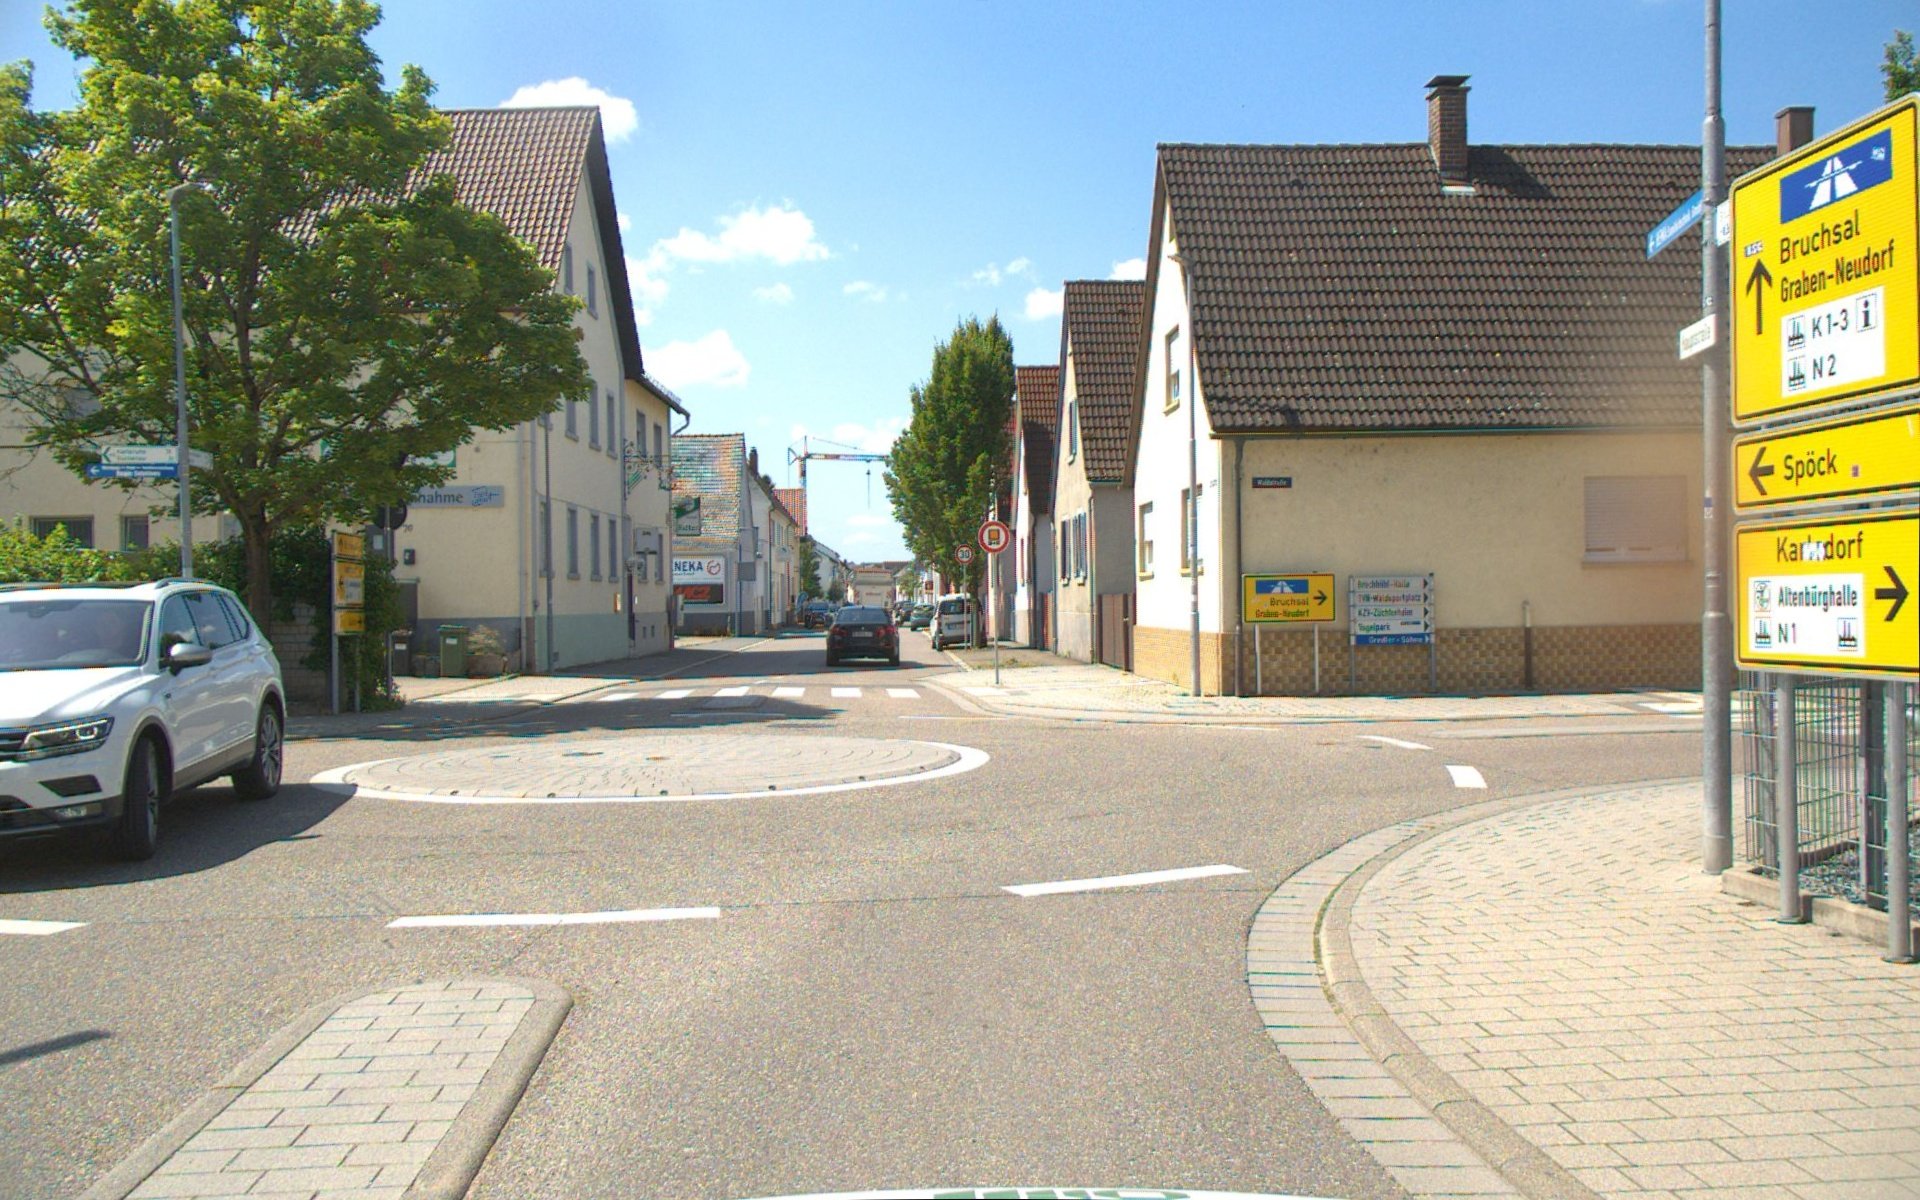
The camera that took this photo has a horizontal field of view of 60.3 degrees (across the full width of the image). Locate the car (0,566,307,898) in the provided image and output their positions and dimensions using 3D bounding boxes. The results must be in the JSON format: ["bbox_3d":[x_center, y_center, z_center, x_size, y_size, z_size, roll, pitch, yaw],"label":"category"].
[{"bbox_3d":[-5.837,0.675,10.873,1.831,1.739,4.534,-2,1,-8],"label":"car"}]

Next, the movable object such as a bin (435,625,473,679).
[{"bbox_3d":[-10.672,1.095,34.906,0.587,1.097,0.658,-1,0,-1],"label":"movable object such as a bin"}]

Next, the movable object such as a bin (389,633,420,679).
[{"bbox_3d":[-11.663,1.177,34.728,0.469,0.944,0.547,-1,0,-1],"label":"movable object such as a bin"}]

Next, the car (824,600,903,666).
[{"bbox_3d":[-2.392,0.796,42.068,1.864,1.591,4.475,0,0,-2],"label":"car"}]

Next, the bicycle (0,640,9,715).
[{"bbox_3d":[-13.294,1.101,22.183,0.393,1.021,1.975,-1,2,-14],"label":"bicycle"}]

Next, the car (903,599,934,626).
[{"bbox_3d":[-2.278,0.677,92.289,1.684,1.487,4.155,0,0,-1],"label":"car"}]

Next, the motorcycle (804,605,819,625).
[{"bbox_3d":[-9.204,0.926,102.401,0.829,1.190,2.467,1,-1,-4],"label":"motorcycle"}]

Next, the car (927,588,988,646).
[{"bbox_3d":[-0.131,0.562,55.702,1.686,1.821,4.140,-2,0,-5],"label":"car"}]

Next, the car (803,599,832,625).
[{"bbox_3d":[-9.143,0.743,106.411,1.773,1.617,3.997,0,0,-4],"label":"car"}]

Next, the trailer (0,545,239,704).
[{"bbox_3d":[-13.687,0.364,27.142,1.841,2.376,4.521,1,0,-2],"label":"trailer"}]

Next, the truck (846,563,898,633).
[{"bbox_3d":[-5.706,-0.100,108.395,3.081,4.325,9.298,1,-1,-2],"label":"truck"}]

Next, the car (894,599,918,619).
[{"bbox_3d":[-3.951,0.642,120.559,1.685,1.379,4.154,0,0,-3],"label":"car"}]
